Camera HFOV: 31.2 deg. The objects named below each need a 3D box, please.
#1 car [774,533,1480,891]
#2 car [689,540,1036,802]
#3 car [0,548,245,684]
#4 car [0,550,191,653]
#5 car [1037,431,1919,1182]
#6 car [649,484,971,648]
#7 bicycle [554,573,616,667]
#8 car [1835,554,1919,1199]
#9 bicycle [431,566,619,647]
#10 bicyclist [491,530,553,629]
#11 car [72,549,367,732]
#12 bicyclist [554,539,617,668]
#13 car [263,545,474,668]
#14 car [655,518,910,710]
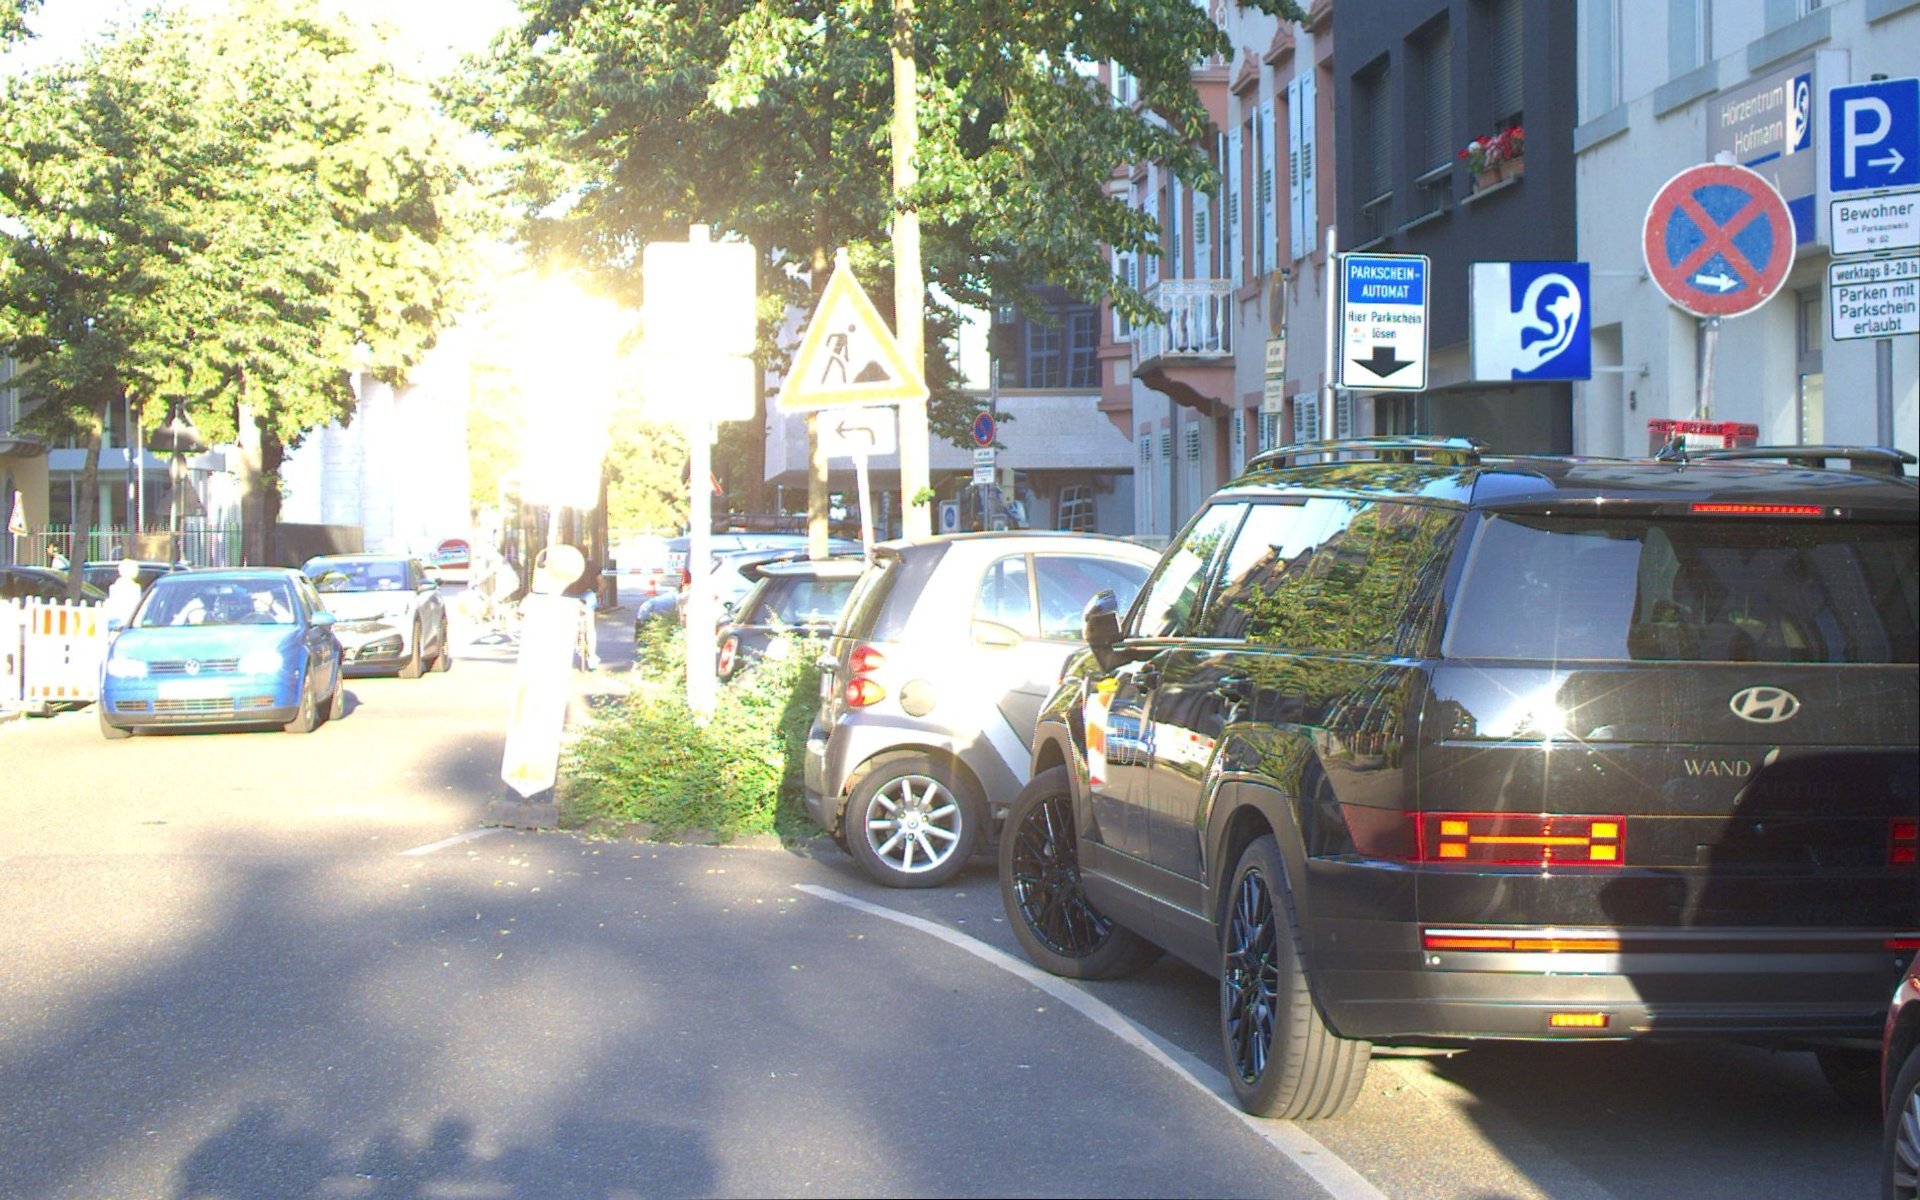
[{"bbox_3d":[0.707,0.488,15.632,2.968,1.531,1.434,1,0,-8],"label":"car"},{"bbox_3d":[-0.796,0.435,24.276,1.993,1.662,4.510,1,1,-7],"label":"car"},{"bbox_3d":[-10.264,0.155,38.655,4.102,1.460,1.890,1,0,-2],"label":"car"},{"bbox_3d":[-13.551,-0.001,50.552,4.102,1.460,1.890,1,0,-2],"label":"car"},{"bbox_3d":[1.461,0.451,10.011,1.824,1.689,4.370,1,1,-7],"label":"car"},{"bbox_3d":[-1.867,-0.445,43.857,3.987,2.007,2.000,-1,1,0],"label":"car"},{"bbox_3d":[-5.031,0.255,46.106,0.780,1.200,2.021,-1,1,-7],"label":"bicycle"},{"bbox_3d":[2.628,0.675,5.310,1.587,1.478,3.267,1,1,-2],"label":"car"},{"bbox_3d":[-7.572,0.101,59.797,3.176,1.346,0.847,-1,1,-10],"label":"bicycle"},{"bbox_3d":[-7.610,-0.355,59.761,1.004,1.690,0.783,-1,1,-9],"label":"bicyclist"},{"bbox_3d":[-6.341,0.304,29.894,1.838,1.436,4.332,-1,1,-3],"label":"car"},{"bbox_3d":[-5.033,0.045,46.165,0.780,1.690,1.007,-1,1,-7],"label":"bicyclist"},{"bbox_3d":[-7.551,0.055,44.280,1.884,1.475,4.459,1,1,1],"label":"car"},{"bbox_3d":[-2.006,0.126,37.315,2.264,1.760,4.510,5,0,-7],"label":"car"}]
